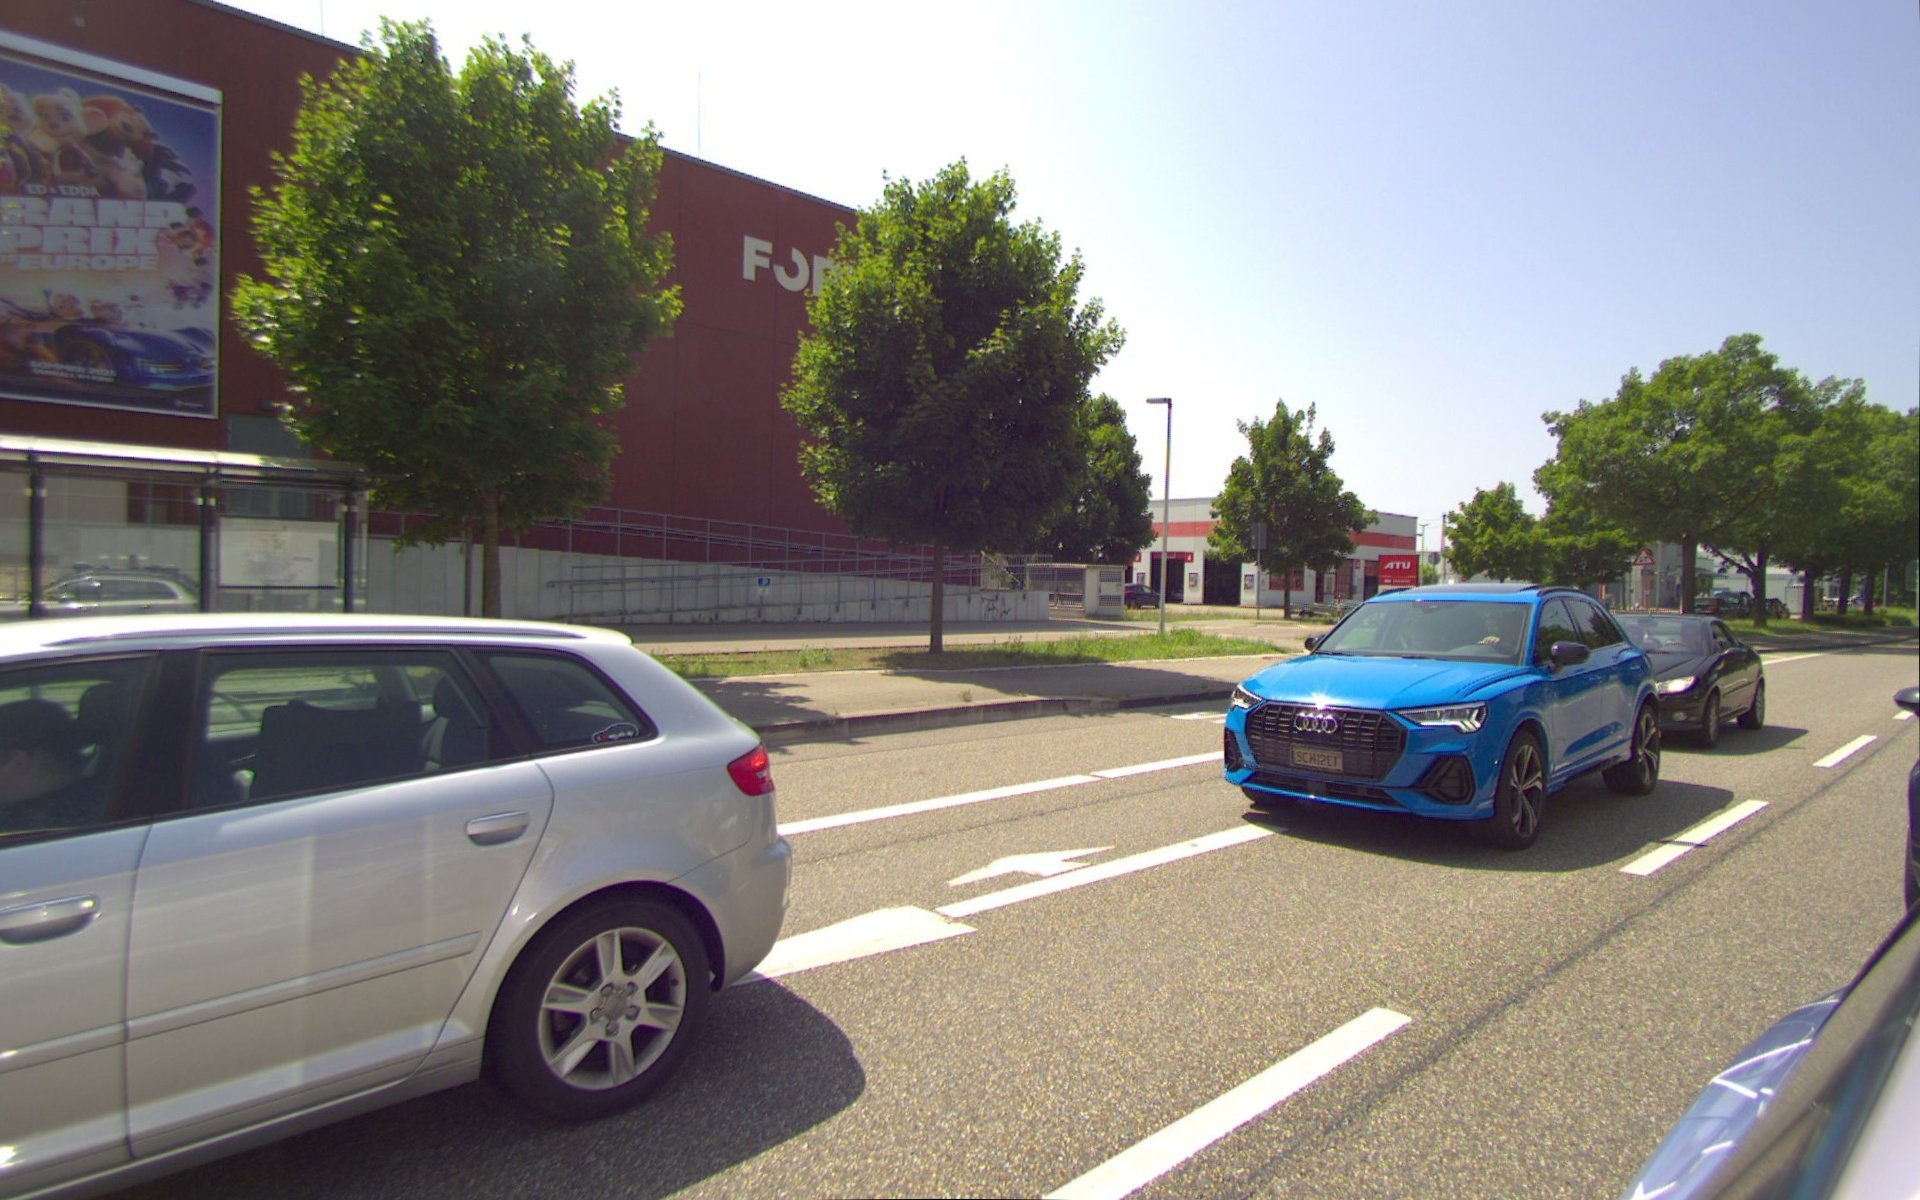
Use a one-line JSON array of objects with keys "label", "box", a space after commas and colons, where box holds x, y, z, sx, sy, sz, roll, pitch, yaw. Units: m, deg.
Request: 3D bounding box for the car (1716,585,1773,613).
[{"label": "car", "box": [43.440, -0.047, 56.018, 3.930, 1.485, 1.719, 0, 2, -41]}]

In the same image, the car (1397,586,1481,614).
[{"label": "car", "box": [27.326, -0.003, 57.807, 1.718, 1.419, 3.992, 0, 2, -43]}]

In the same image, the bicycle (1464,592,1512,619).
[{"label": "bicycle", "box": [23.327, 0.236, 44.731, 1.779, 1.138, 0.506, 3, 1, 43]}]

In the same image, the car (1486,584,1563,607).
[{"label": "car", "box": [36.375, -0.294, 65.294, 1.662, 1.317, 3.991, 0, 2, -44]}]

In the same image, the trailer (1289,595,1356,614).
[{"label": "trailer", "box": [16.382, 0.183, 45.779, 1.423, 0.771, 2.467, 0, 2, -39]}]

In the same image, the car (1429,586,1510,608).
[{"label": "car", "box": [30.638, -0.194, 60.890, 1.718, 1.223, 3.991, 0, 2, -44]}]

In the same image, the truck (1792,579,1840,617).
[{"label": "truck", "box": [60.272, -0.154, 71.223, 3.929, 2.599, 1.904, 0, 1, -40]}]

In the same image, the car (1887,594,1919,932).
[{"label": "car", "box": [5.985, 0.717, 5.039, 3.931, 1.421, 1.640, 0, 2, -42]}]

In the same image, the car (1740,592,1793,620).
[{"label": "car", "box": [47.278, 0.317, 59.340, 3.930, 1.539, 1.719, 0, 2, -41]}]

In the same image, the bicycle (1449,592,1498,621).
[{"label": "bicycle", "box": [21.865, 0.267, 43.129, 1.779, 1.138, 0.506, 3, 1, 43]}]

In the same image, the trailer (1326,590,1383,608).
[{"label": "trailer", "box": [18.819, -0.046, 48.288, 1.369, 0.771, 2.137, 0, 2, -39]}]

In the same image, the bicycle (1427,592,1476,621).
[{"label": "bicycle", "box": [20.629, 0.246, 42.501, 1.779, 1.138, 0.506, 3, 1, 43]}]

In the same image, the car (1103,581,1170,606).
[{"label": "car", "box": [10.436, -0.365, 59.663, 4.074, 1.390, 1.716, 0, 2, -42]}]

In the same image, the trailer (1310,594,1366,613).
[{"label": "trailer", "box": [17.618, 0.158, 47.177, 1.244, 0.771, 2.137, 0, 2, -39]}]

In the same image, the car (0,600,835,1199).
[{"label": "car", "box": [-2.461, 0.694, 2.628, 4.022, 1.379, 1.714, 0, 0, -43]}]

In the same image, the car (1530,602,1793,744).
[{"label": "car", "box": [8.175, 0.710, 11.669, 3.931, 1.361, 1.640, 0, -1, -42]}]

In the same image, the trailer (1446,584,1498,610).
[{"label": "trailer", "box": [32.978, -0.198, 65.233, 1.391, 1.546, 2.638, 0, 2, -43]}]

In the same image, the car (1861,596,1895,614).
[{"label": "car", "box": [79.954, 0.467, 88.150, 3.930, 1.485, 1.719, 0, 2, -41]}]

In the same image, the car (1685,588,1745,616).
[{"label": "car", "box": [38.817, 0.097, 52.005, 3.930, 1.388, 1.641, 0, 2, -41]}]

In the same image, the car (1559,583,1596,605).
[{"label": "car", "box": [48.304, -0.478, 79.122, 1.753, 1.616, 3.940, 2, 2, 42]}]

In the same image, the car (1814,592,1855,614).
[{"label": "car", "box": [64.686, 0.216, 74.874, 3.930, 1.485, 1.719, 0, 2, -41]}]

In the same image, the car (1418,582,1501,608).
[{"label": "car", "box": [29.117, -0.302, 59.091, 1.718, 1.419, 3.991, 0, 2, -44]}]

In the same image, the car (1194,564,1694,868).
[{"label": "car", "box": [3.788, 0.600, 7.526, 4.324, 1.616, 1.840, 0, 1, -42]}]

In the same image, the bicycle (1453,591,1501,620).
[{"label": "bicycle", "box": [22.273, 0.227, 43.620, 1.779, 1.138, 0.506, 3, 1, 43]}]

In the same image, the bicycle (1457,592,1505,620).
[{"label": "bicycle", "box": [22.741, 0.245, 44.160, 1.779, 1.138, 0.506, 3, 1, 43]}]

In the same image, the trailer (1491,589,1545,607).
[{"label": "trailer", "box": [34.899, -0.137, 63.292, 1.552, 1.065, 2.638, 0, 2, -43]}]

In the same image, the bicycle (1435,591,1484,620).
[{"label": "bicycle", "box": [21.143, 0.233, 42.847, 1.779, 1.138, 0.506, 3, 1, 43]}]

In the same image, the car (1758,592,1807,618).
[{"label": "car", "box": [51.654, 0.286, 63.558, 3.930, 1.532, 1.719, 0, 2, -41]}]
